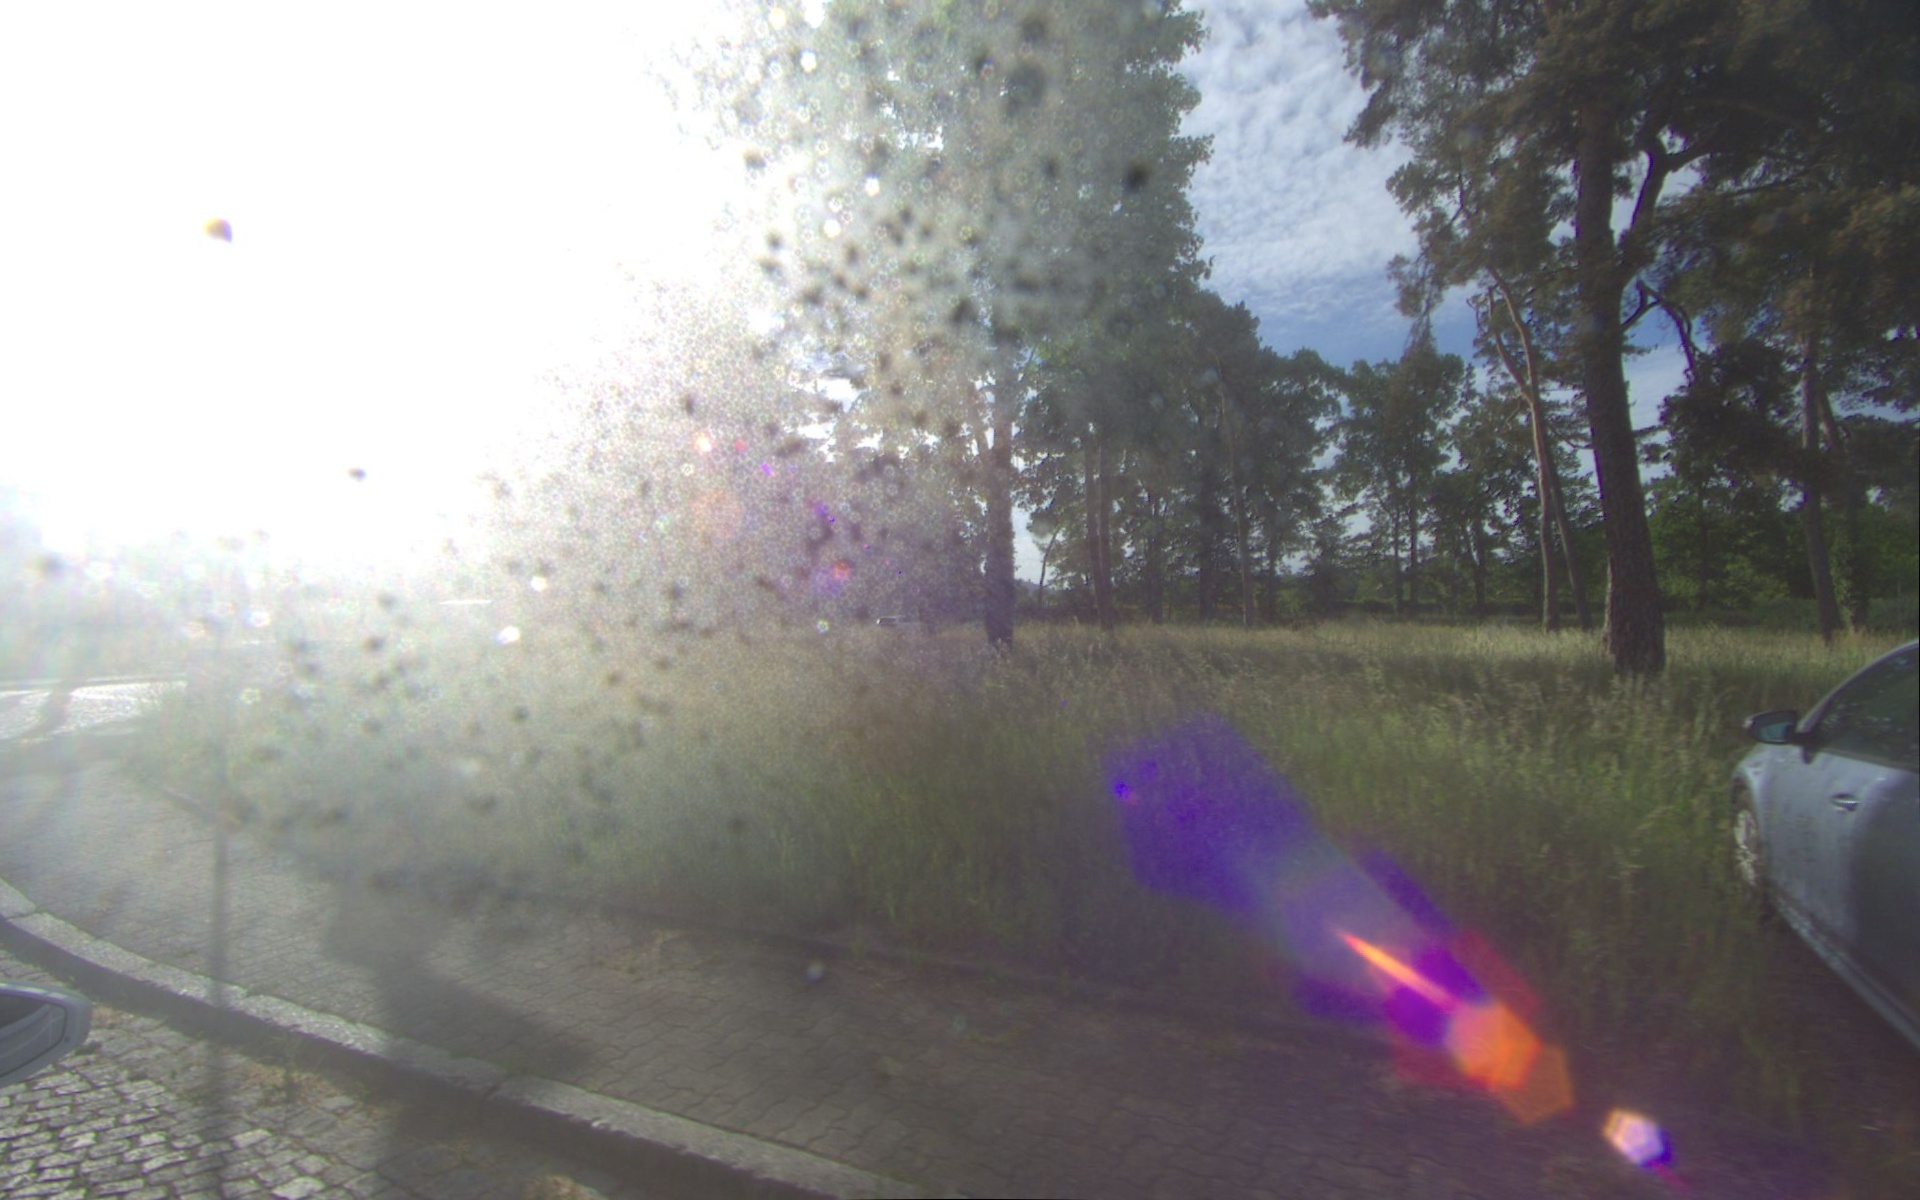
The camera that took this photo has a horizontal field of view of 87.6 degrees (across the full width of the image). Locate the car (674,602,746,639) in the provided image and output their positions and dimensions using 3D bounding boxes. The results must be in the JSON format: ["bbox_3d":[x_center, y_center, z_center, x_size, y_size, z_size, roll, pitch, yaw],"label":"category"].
[{"bbox_3d":[-18.345,1.516,73.717,2.230,2.568,5.154,-1,-1,29],"label":"car"}]

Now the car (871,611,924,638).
[{"bbox_3d":[-4.129,1.638,66.685,1.827,1.701,3.932,-1,-1,26],"label":"car"}]

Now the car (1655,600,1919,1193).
[{"bbox_3d":[3.874,0.765,3.292,1.902,1.525,4.543,-1,0,26],"label":"car"}]
